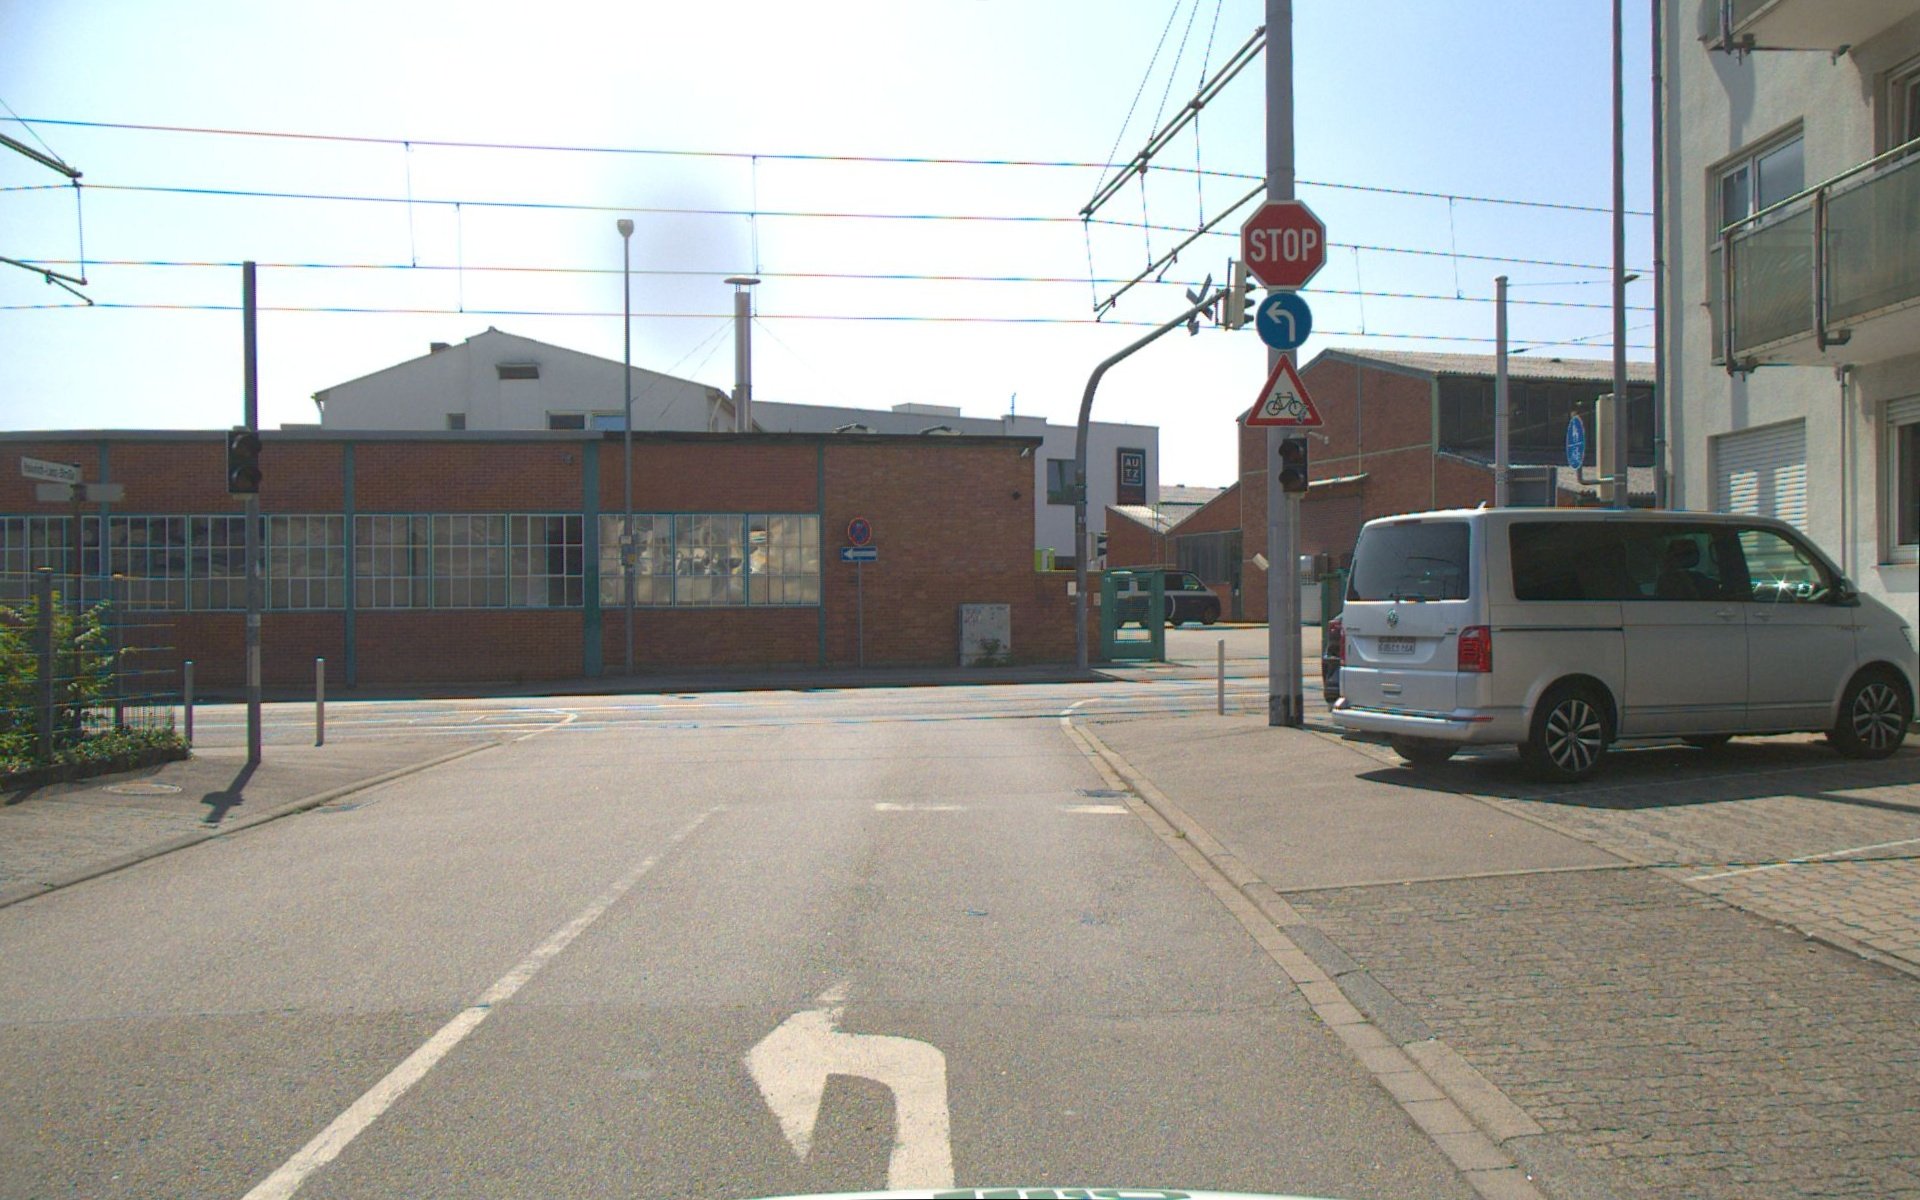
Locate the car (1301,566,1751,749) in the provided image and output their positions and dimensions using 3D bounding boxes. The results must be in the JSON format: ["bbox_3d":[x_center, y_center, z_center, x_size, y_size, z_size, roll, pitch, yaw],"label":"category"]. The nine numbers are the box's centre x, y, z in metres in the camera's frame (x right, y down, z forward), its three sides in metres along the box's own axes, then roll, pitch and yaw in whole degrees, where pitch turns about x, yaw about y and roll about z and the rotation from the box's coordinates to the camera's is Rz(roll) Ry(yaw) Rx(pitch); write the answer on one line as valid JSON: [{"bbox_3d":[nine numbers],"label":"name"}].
[{"bbox_3d":[5.408,0.478,15.795,3.912,1.547,1.865,-1,0,-26],"label":"car"}]

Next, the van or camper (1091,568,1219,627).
[{"bbox_3d":[6.907,-0.061,58.442,4.374,1.934,1.974,2,-1,-37],"label":"van or camper"}]

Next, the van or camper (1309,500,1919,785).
[{"bbox_3d":[5.202,0.260,13.003,4.476,1.941,1.987,-1,0,-21],"label":"van or camper"}]
